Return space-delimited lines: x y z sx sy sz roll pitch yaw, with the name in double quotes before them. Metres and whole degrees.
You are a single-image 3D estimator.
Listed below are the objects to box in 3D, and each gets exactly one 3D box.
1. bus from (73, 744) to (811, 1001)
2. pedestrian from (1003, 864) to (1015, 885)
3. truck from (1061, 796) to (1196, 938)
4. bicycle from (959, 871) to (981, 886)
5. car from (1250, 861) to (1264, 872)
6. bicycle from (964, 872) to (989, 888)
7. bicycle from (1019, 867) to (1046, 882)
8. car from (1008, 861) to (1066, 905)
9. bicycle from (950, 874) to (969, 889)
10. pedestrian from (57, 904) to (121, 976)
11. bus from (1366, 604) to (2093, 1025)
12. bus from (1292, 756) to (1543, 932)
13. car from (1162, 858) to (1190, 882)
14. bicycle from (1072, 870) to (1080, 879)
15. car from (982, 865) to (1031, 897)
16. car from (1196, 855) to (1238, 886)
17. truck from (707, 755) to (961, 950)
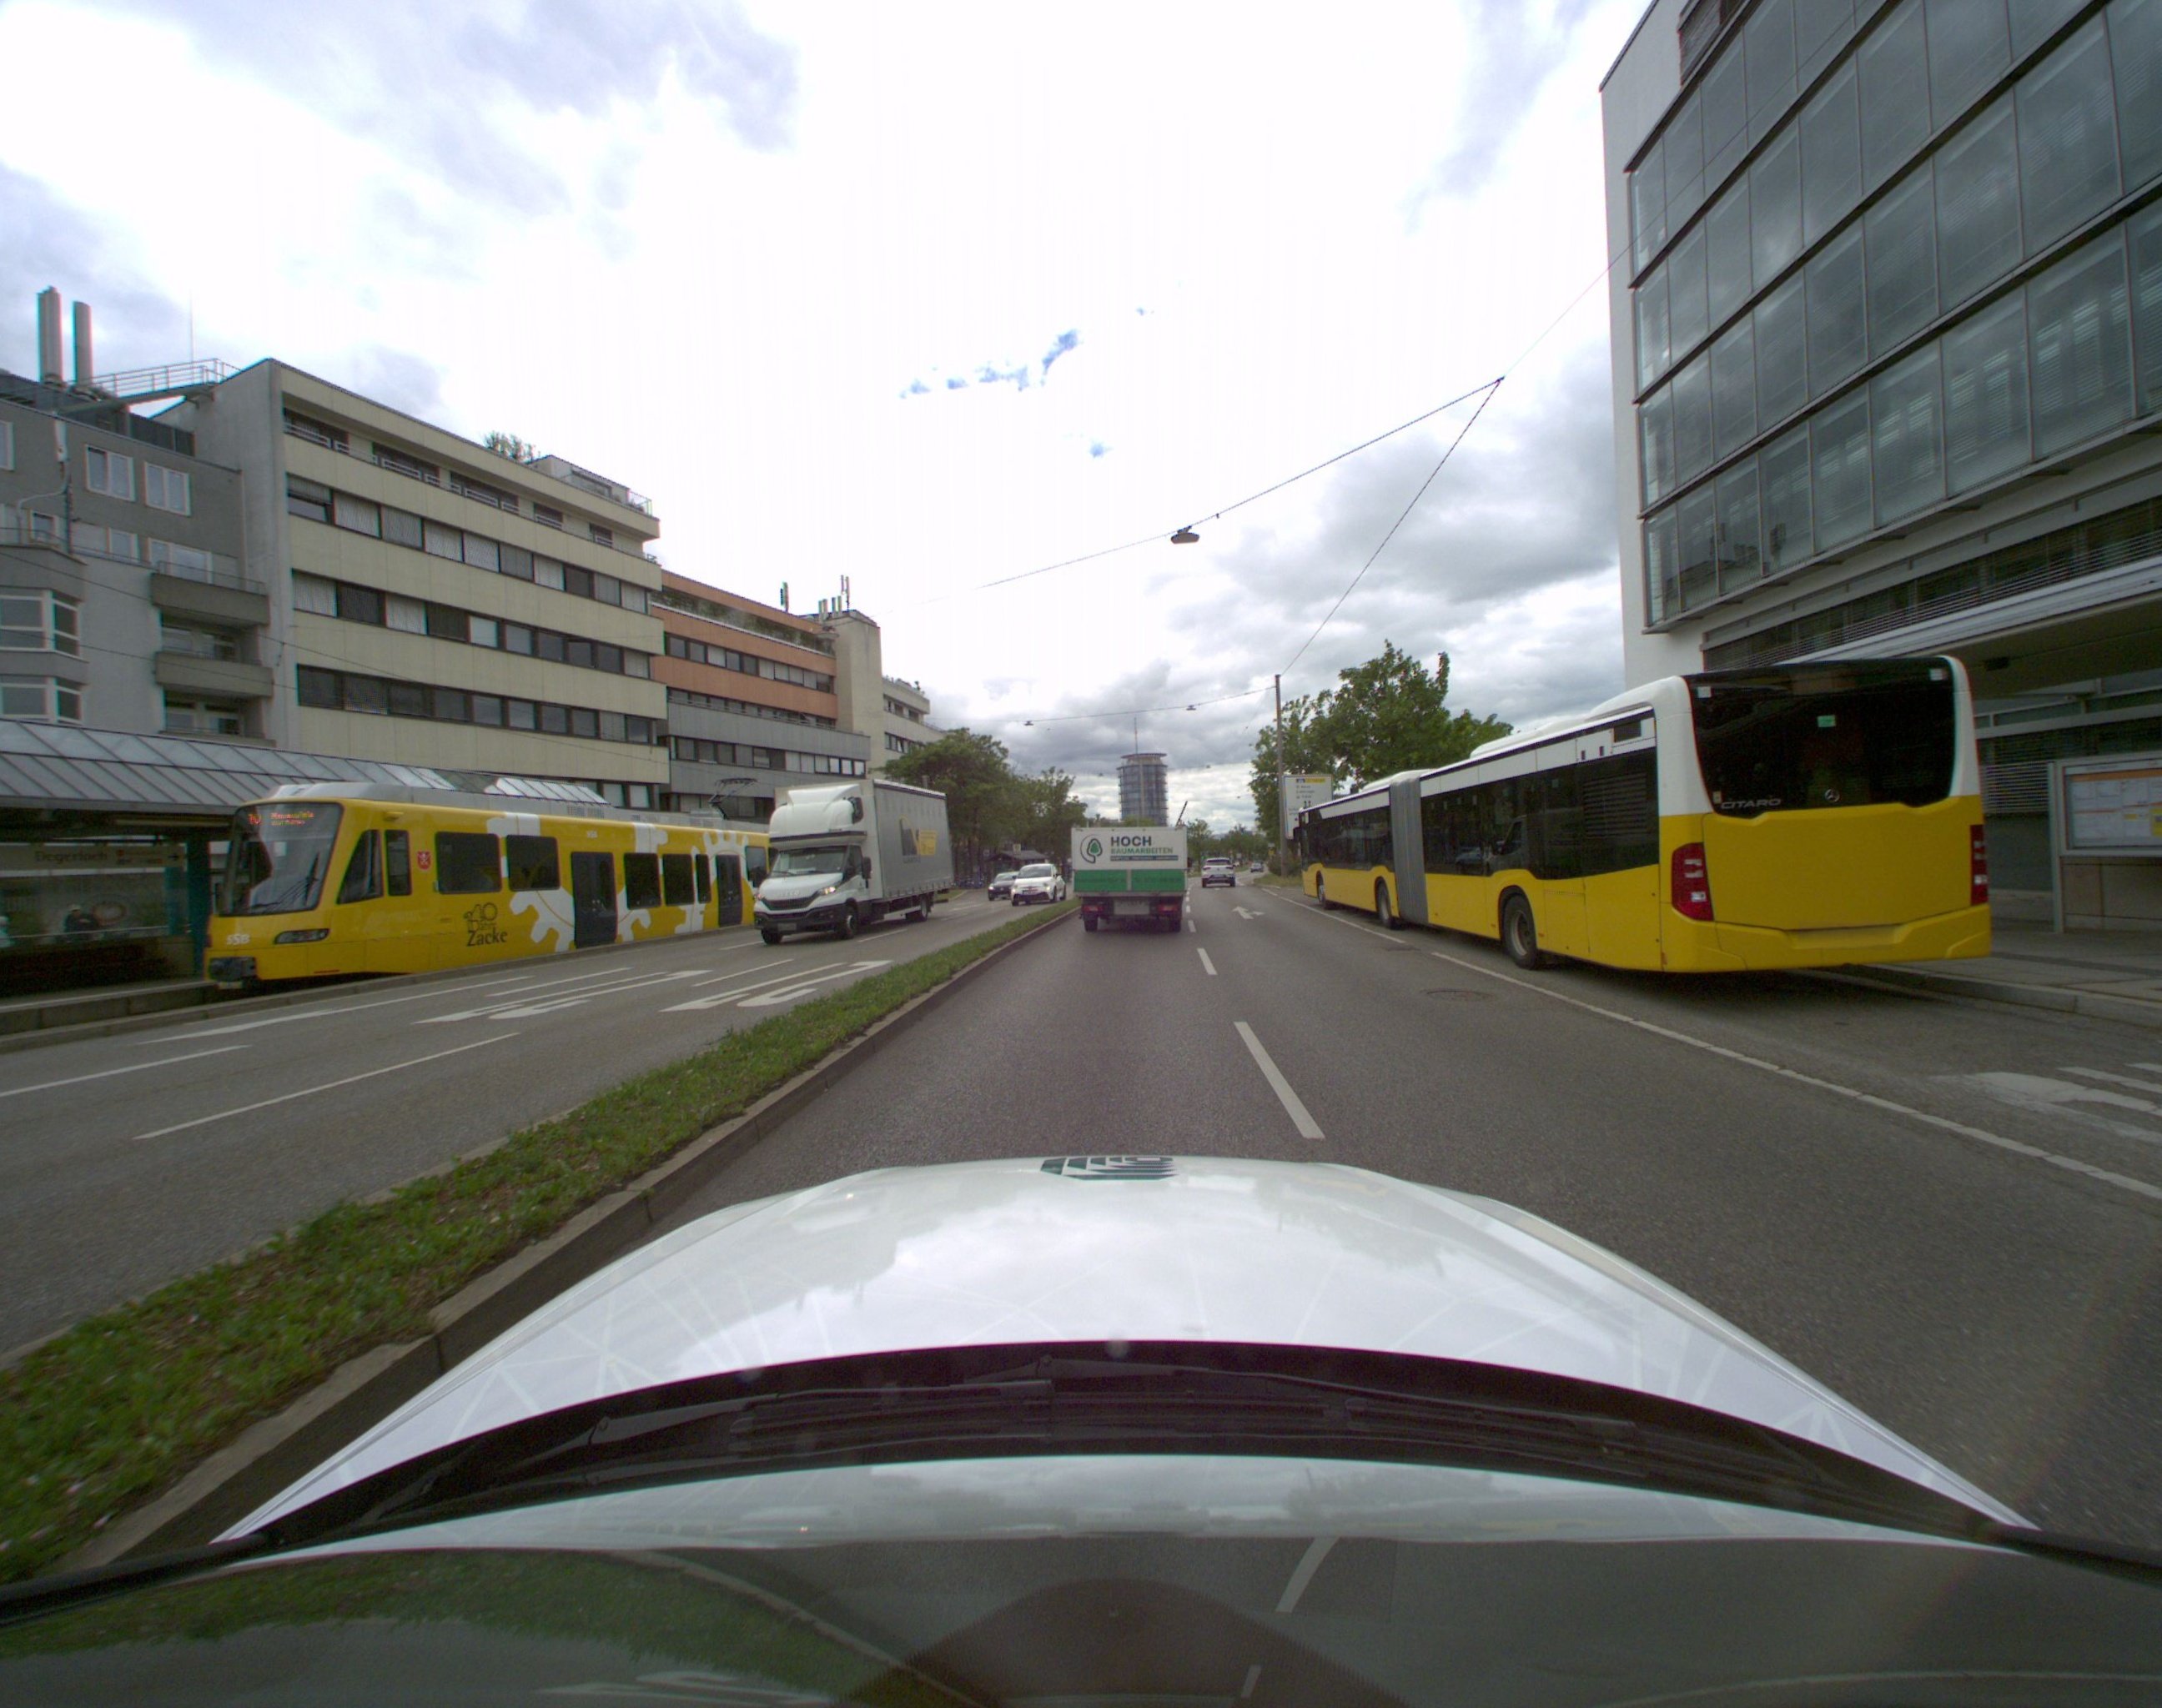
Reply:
"bus" -13.319 0.370 22.474 3.860 3.859 19.362 -3 -1 4
"pedestrian" -6.354 1.809 72.302 0.699 1.823 1.218 -1 -2 13
"truck" 1.250 0.243 18.618 2.458 2.611 6.559 -2 0 6
"bicycle" -9.147 2.009 67.038 1.699 1.161 0.597 -2 -1 -44
"car" 27.133 1.946 125.578 1.981 1.552 4.011 -3 -1 10
"bicycle" -8.318 2.071 64.954 1.976 1.161 0.597 -1 0 -42
"bicycle" -5.463 2.283 91.369 2.883 1.507 0.600 -3 -1 7
"car" -1.598 1.047 30.804 1.580 1.502 3.724 -2 -1 6
"bicycle" -9.795 2.199 65.715 0.598 1.161 1.975 -3 -1 19
"pedestrian" -25.231 2.176 20.719 0.805 1.735 0.653 -3 0 8
"bus" 6.845 -0.274 11.272 3.022 3.235 9.349 -3 -1 4
"bus" 7.496 -0.150 20.016 2.968 3.241 9.880 0 0 5
"car" 6.858 1.100 58.650 1.857 1.505 4.783 -3 0 7
"bicycle" -0.668 2.584 101.198 0.827 1.084 1.937 -3 -1 2
"car" -3.573 1.274 39.823 1.498 1.345 3.956 -5 -1 7
"car" 7.432 0.882 44.809 1.859 1.505 4.779 -3 0 5
"truck" -5.863 -0.033 21.618 2.923 3.958 9.180 -2 0 6
